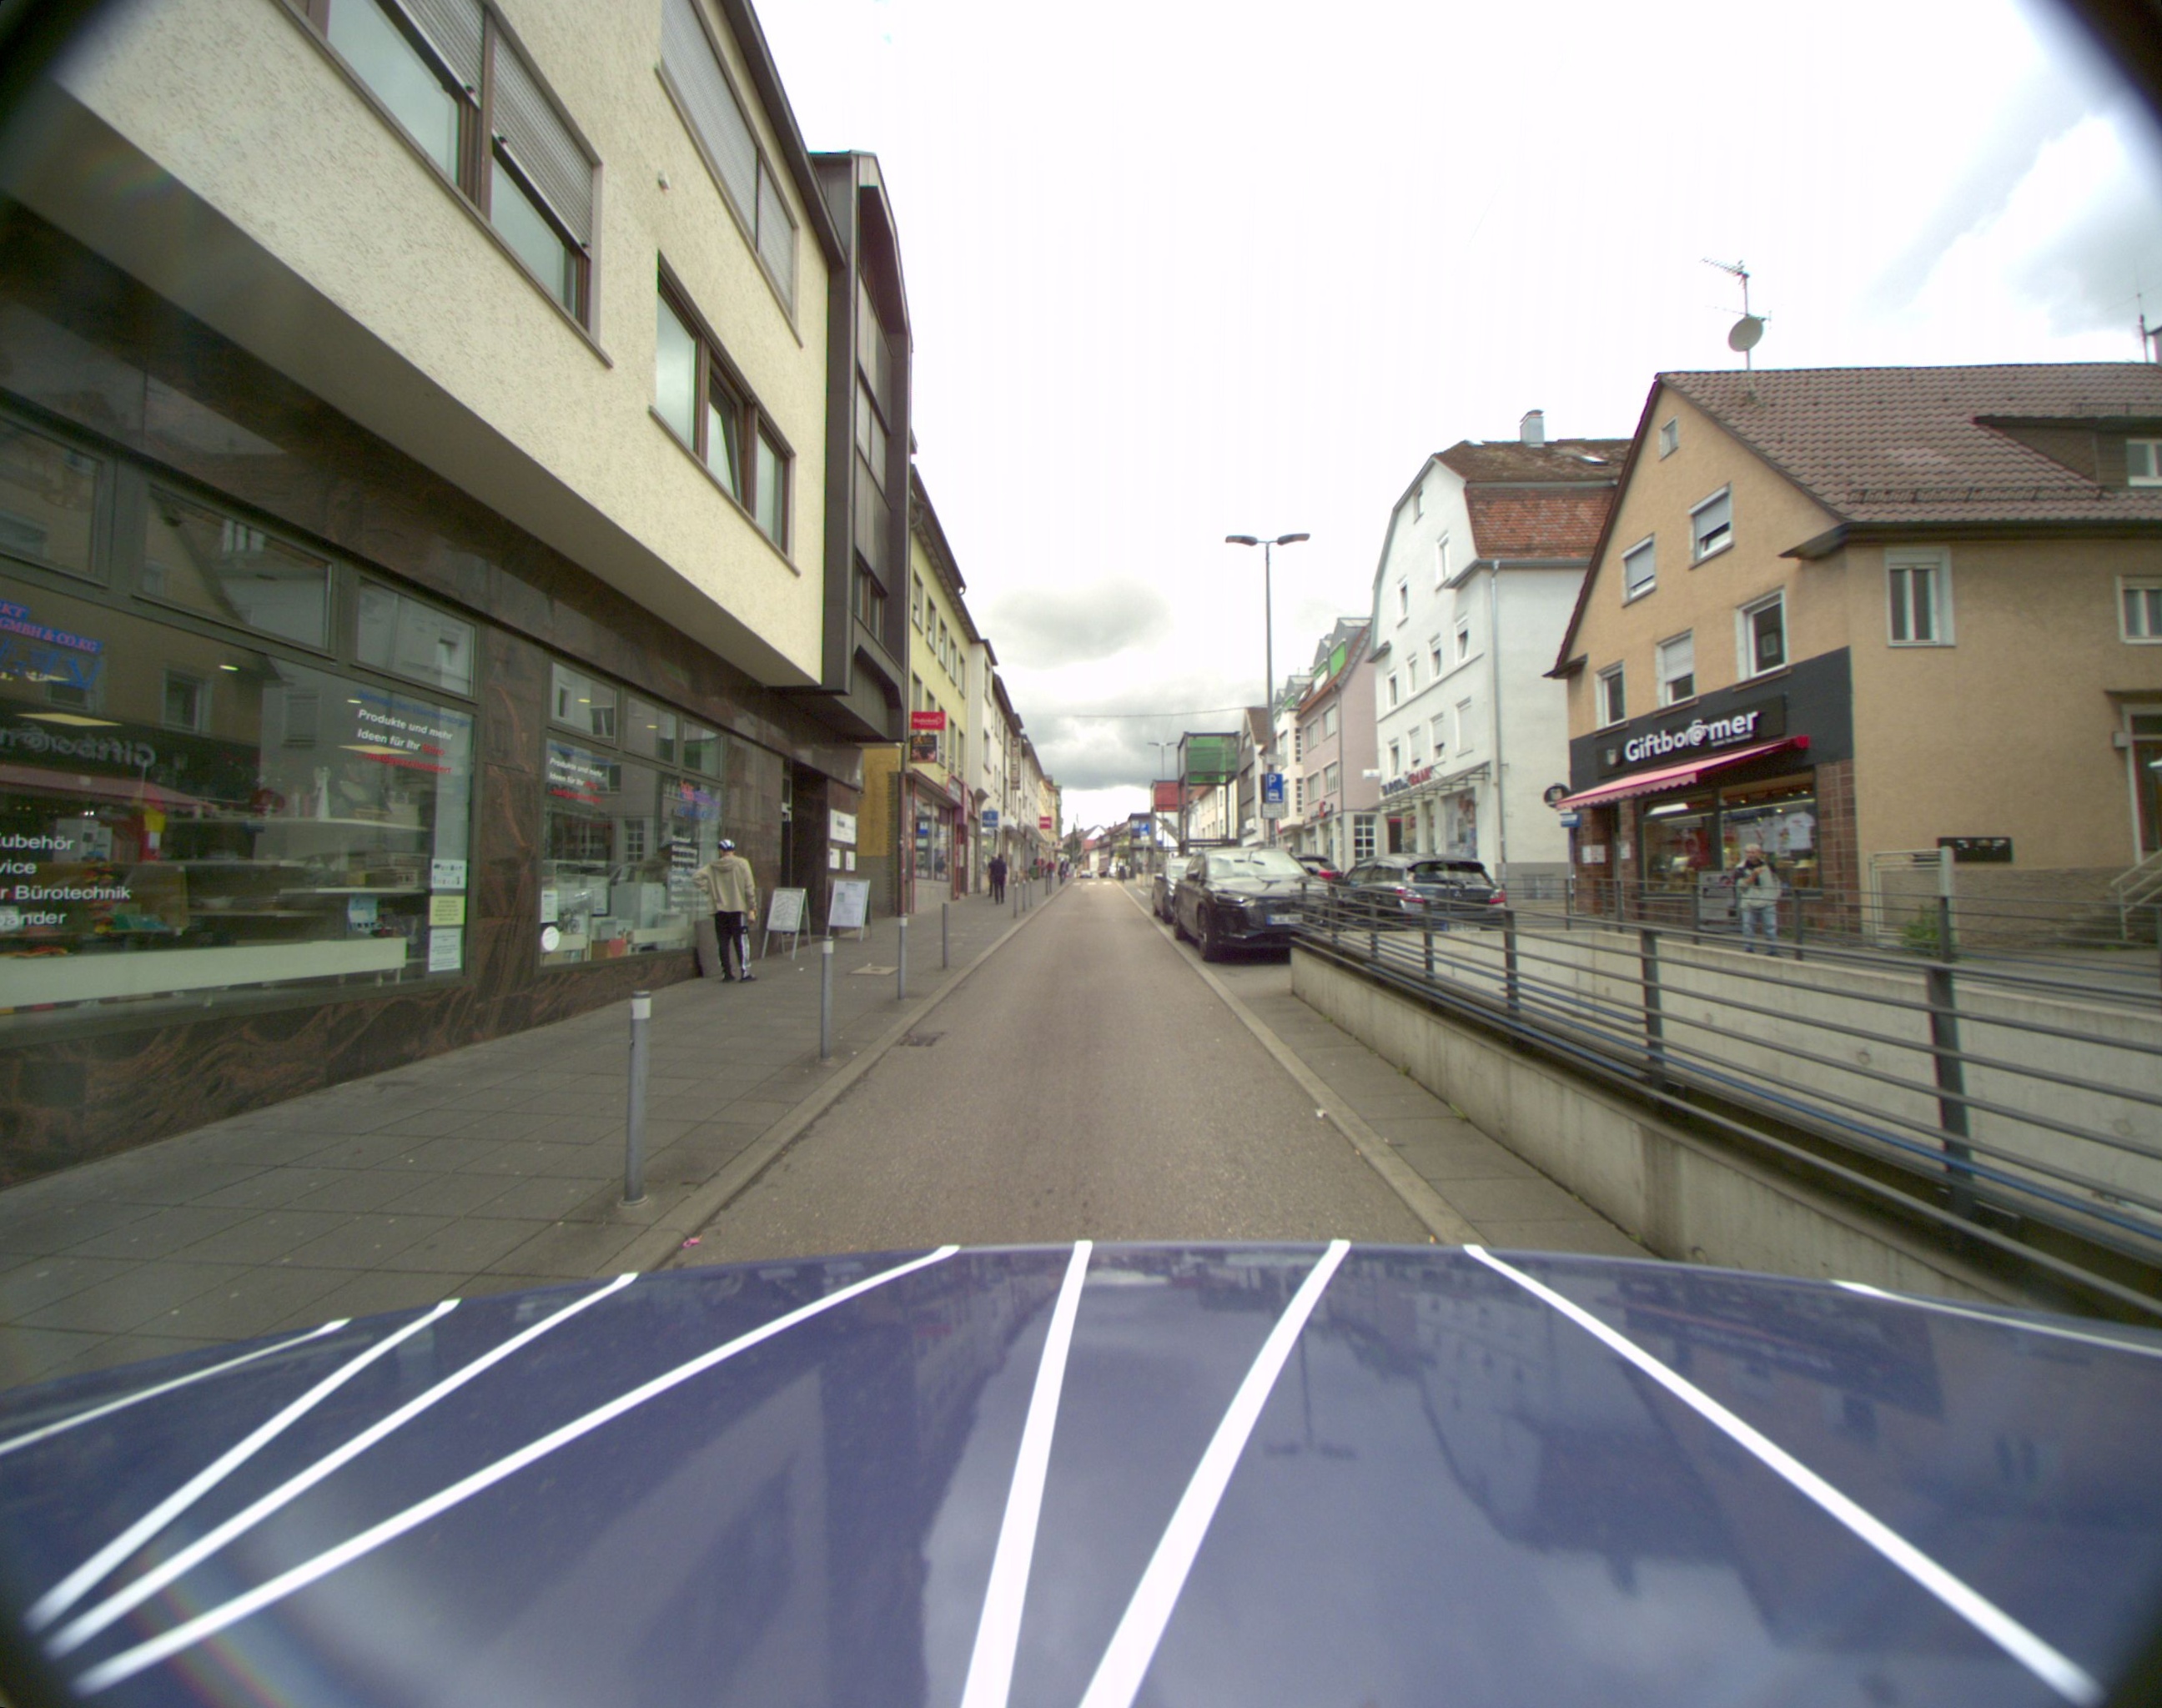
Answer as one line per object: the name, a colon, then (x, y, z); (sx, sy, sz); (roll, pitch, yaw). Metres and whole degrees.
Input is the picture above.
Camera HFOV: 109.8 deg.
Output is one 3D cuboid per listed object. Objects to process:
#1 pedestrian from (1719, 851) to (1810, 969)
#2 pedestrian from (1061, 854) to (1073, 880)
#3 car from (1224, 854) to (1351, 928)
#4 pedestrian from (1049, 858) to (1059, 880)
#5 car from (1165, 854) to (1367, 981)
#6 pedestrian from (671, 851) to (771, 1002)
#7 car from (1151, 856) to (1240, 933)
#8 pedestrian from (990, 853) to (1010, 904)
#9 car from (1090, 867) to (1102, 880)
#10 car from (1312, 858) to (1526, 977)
pedestrian: (10.114, 0.805, 11.266); (0.748, 1.704, 0.664); (0, 1, 1)
pedestrian: (-1.003, 0.888, 53.120); (0.761, 1.764, 0.851); (0, 1, -6)
car: (5.020, 0.835, 19.165); (1.998, 1.580, 4.494); (-2, 0, 1)
pedestrian: (-1.905, 1.011, 52.931); (0.663, 1.519, 0.705); (0, 1, -6)
car: (2.605, 0.805, 11.901); (1.999, 1.557, 4.431); (-2, 0, -1)
pedestrian: (-4.198, 0.818, 8.916); (0.760, 1.663, 0.780); (2, 0, -2)
car: (2.601, 0.869, 17.989); (1.577, 1.600, 3.533); (-2, 0, 1)
pedestrian: (-2.701, 0.805, 25.359); (0.639, 1.689, 0.708); (0, 1, -5)
car: (2.539, 3.280, 129.009); (1.998, 2.002, 4.000); (0, 0, 1)
car: (5.124, 0.863, 12.139); (1.703, 1.538, 3.898); (-2, 0, 1)
